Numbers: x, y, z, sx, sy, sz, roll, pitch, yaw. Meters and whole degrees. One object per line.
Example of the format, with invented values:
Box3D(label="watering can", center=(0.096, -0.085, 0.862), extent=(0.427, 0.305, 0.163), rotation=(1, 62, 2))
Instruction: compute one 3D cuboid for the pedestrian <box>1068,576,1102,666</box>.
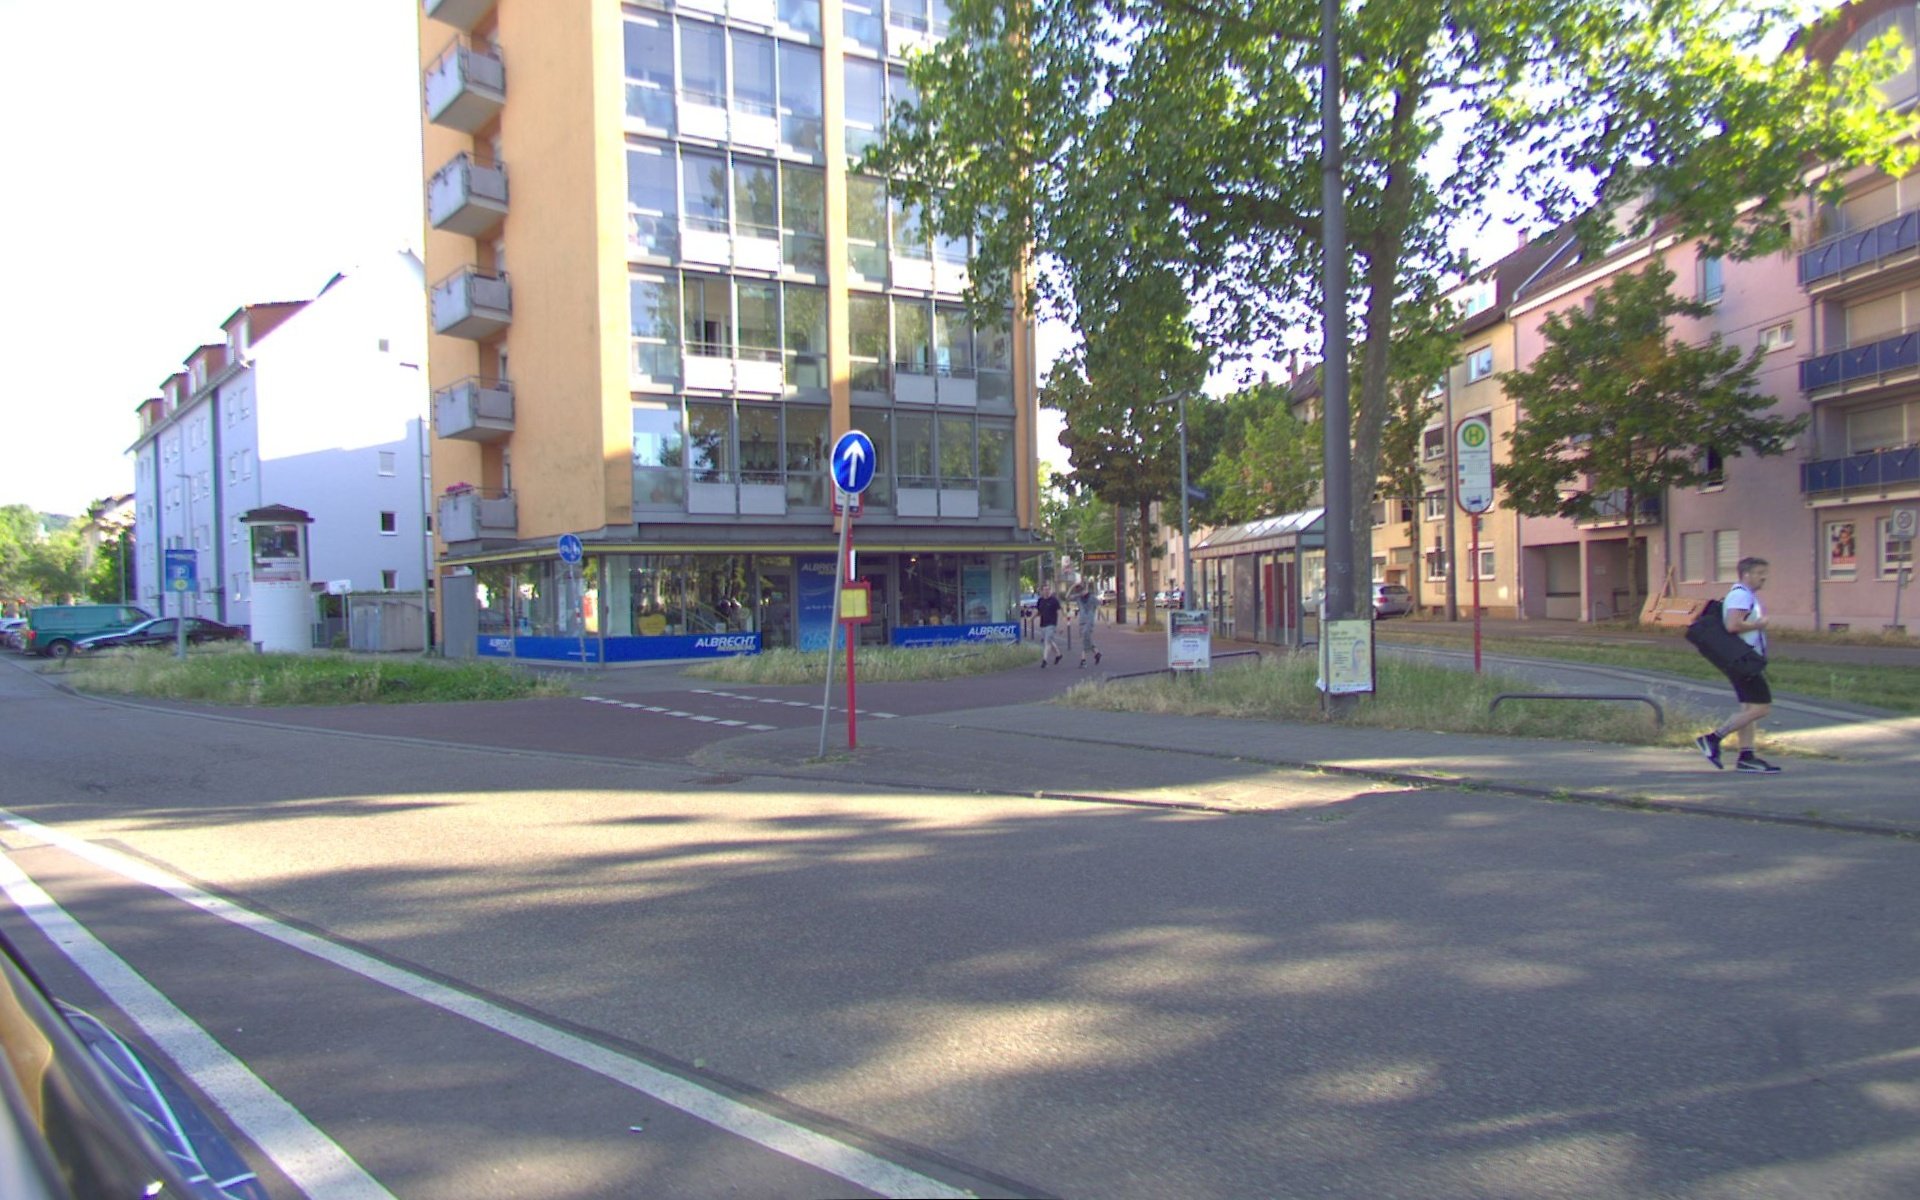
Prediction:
Box3D(label="pedestrian", center=(2.512, 0.415, 20.352), extent=(0.622, 1.763, 0.689), rotation=(-1, 1, 6))

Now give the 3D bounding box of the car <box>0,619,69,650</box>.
Box3D(label="car", center=(-57.619, 2.119, 62.318), extent=(4.016, 1.765, 1.900), rotation=(-2, 1, -44))

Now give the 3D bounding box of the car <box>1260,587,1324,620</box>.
Box3D(label="car", center=(18.060, 0.154, 55.273), extent=(1.911, 1.718, 4.115), rotation=(-1, 1, -3))

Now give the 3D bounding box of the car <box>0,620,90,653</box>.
Box3D(label="car", center=(-49.966, 1.957, 54.818), extent=(4.199, 1.585, 1.868), rotation=(-2, 1, -44))

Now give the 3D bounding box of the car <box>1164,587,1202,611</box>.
Box3D(label="car", center=(16.899, -0.108, 76.832), extent=(1.808, 1.718, 4.059), rotation=(-1, 1, -3))

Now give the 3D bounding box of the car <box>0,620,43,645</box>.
Box3D(label="car", center=(-65.305, 2.229, 68.897), extent=(4.199, 1.585, 1.868), rotation=(-2, 1, -44))

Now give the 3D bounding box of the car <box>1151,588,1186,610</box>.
Box3D(label="car", center=(16.850, -0.104, 82.022), extent=(1.771, 1.718, 4.171), rotation=(-1, 1, -3))

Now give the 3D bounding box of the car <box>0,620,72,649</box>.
Box3D(label="car", center=(-57.486, 2.148, 62.265), extent=(4.199, 1.585, 1.868), rotation=(-2, 1, -44))

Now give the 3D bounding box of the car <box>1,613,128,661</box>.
Box3D(label="car", center=(-38.734, 1.543, 43.839), extent=(4.003, 1.829, 1.938), rotation=(-2, 1, -44))

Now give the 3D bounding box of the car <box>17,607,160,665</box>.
Box3D(label="car", center=(-33.106, 1.316, 38.498), extent=(2.001, 1.962, 3.942), rotation=(-1, 1, 45))

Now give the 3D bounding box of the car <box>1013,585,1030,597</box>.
Box3D(label="car", center=(9.104, -1.357, 149.831), extent=(1.911, 1.718, 4.372), rotation=(-1, 1, -3))

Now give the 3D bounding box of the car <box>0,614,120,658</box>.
Box3D(label="car", center=(-40.698, 1.591, 45.762), extent=(4.016, 1.765, 1.900), rotation=(-2, 1, -44))

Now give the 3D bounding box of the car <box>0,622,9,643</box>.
Box3D(label="car", center=(-76.541, 2.575, 78.900), extent=(3.490, 1.585, 1.868), rotation=(-2, 1, -44))

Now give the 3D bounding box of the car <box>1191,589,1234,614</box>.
Box3D(label="car", center=(17.351, 0.078, 69.728), extent=(1.741, 1.588, 4.049), rotation=(-1, 1, -3))

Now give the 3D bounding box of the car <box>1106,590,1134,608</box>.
Box3D(label="car", center=(16.040, -0.116, 101.553), extent=(1.911, 1.718, 4.003), rotation=(-1, 1, -3))

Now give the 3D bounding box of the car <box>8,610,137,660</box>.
Box3D(label="car", center=(-37.001, 1.416, 42.254), extent=(3.941, 1.829, 2.002), rotation=(-2, 1, -44))

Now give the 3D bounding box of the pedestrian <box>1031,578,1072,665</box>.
Box3D(label="pedestrian", center=(1.907, 0.439, 21.093), extent=(0.803, 1.763, 0.538), rotation=(-1, 1, 6))

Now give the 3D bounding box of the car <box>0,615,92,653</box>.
Box3D(label="car", center=(-47.971, 1.732, 52.719), extent=(4.061, 1.785, 1.758), rotation=(-2, 1, -44))

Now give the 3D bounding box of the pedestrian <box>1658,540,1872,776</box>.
Box3D(label="pedestrian", center=(6.372, 0.430, 8.091), extent=(1.080, 1.750, 0.897), rotation=(-1, 1, 20))

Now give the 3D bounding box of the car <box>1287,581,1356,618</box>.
Box3D(label="car", center=(18.036, -0.058, 50.656), extent=(1.911, 1.718, 3.827), rotation=(-1, 1, -3))

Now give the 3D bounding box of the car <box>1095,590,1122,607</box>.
Box3D(label="car", center=(15.655, -0.192, 106.950), extent=(1.911, 1.718, 4.372), rotation=(-1, 1, -3))

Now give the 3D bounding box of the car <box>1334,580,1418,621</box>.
Box3D(label="car", center=(18.865, -0.006, 46.100), extent=(1.911, 1.718, 4.115), rotation=(-1, 1, -3))

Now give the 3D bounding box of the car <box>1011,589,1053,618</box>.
Box3D(label="car", center=(4.252, 0.198, 60.248), extent=(2.020, 1.588, 4.049), rotation=(-1, 1, -3))

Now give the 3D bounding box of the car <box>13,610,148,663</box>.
Box3D(label="car", center=(-35.007, 1.399, 40.347), extent=(3.941, 1.829, 2.002), rotation=(-2, 1, -44))

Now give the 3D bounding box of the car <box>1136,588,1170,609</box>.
Box3D(label="car", center=(16.652, -0.146, 87.477), extent=(1.830, 1.718, 4.171), rotation=(-1, 1, -3))

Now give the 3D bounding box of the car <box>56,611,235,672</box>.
Box3D(label="car", center=(-26.178, 1.286, 32.657), extent=(4.361, 1.674, 2.003), rotation=(-2, 1, -41))
